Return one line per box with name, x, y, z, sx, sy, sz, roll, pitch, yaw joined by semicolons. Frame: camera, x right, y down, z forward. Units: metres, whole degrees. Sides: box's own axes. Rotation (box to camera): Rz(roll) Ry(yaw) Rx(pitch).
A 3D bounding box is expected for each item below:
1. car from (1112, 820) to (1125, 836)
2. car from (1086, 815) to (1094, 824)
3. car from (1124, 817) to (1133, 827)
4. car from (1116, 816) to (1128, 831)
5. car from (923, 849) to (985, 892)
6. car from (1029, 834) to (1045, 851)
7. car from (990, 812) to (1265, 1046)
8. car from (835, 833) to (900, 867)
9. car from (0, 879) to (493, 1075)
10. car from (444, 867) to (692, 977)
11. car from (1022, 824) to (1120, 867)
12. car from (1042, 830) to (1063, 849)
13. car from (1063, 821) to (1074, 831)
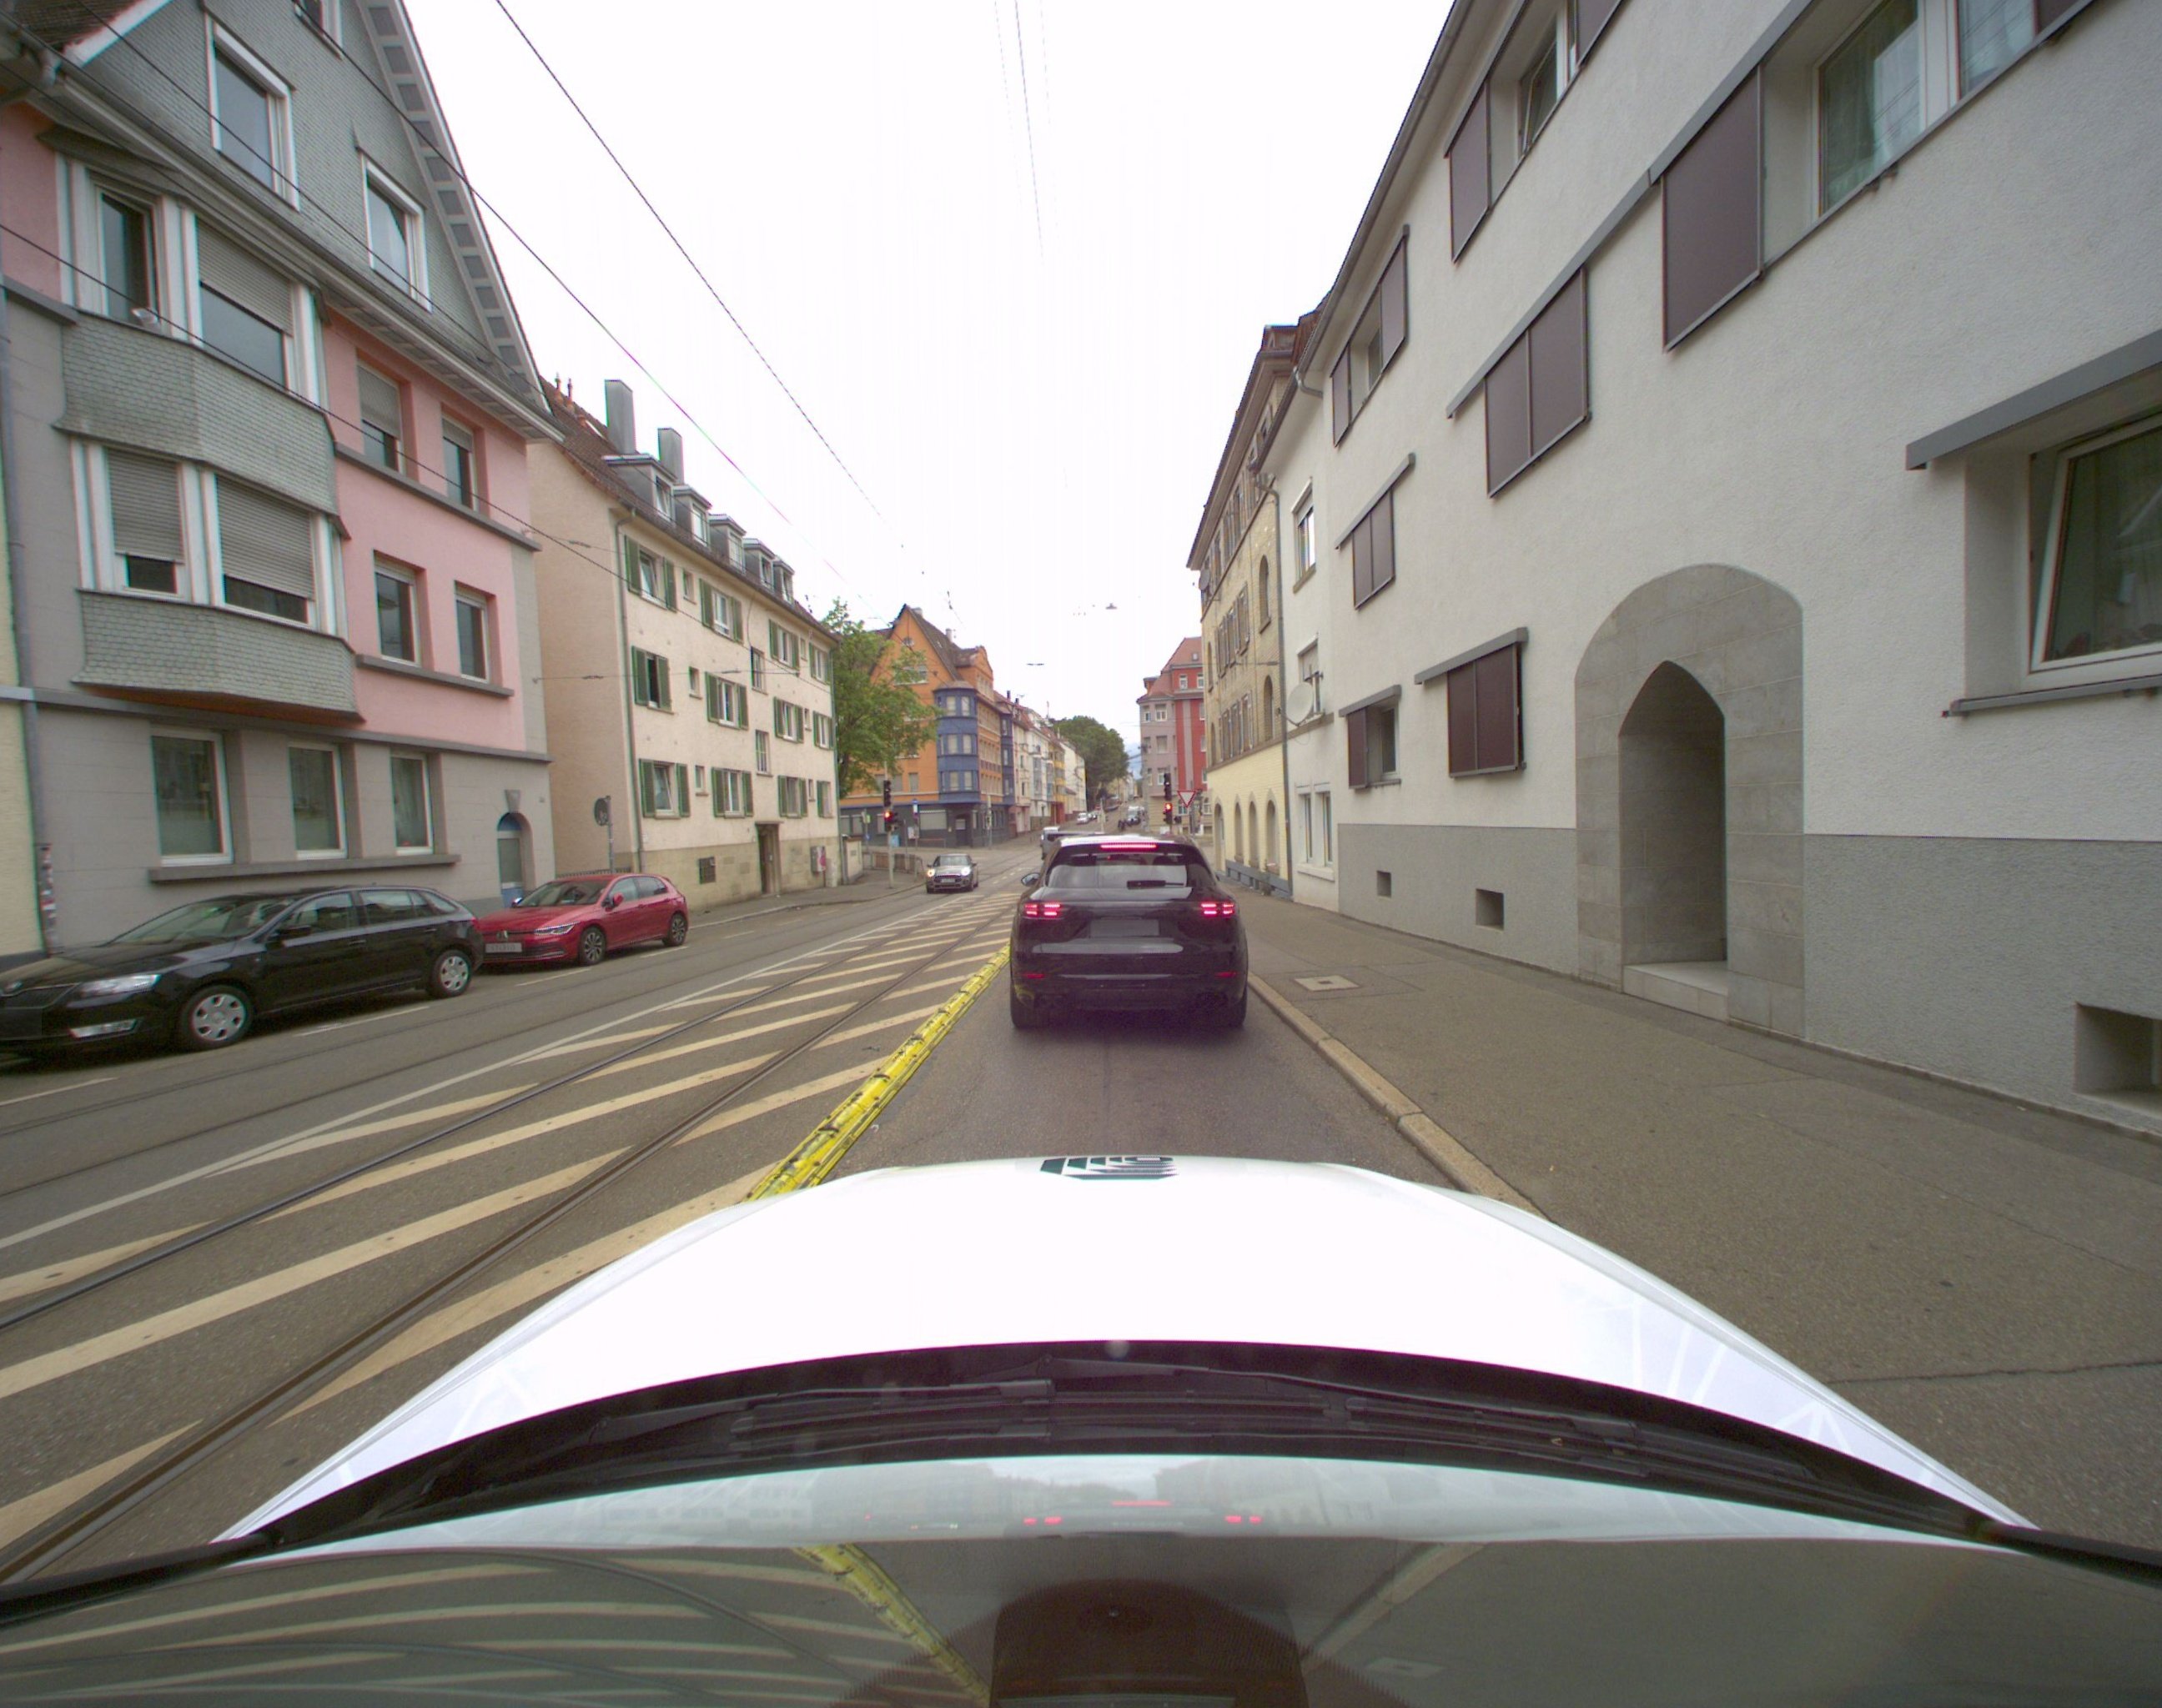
car;4.335;-2.957;94.048;1.389;1.722;3.361;-2;0;2
car;1.639;-6.465;152.083;1.389;1.450;3.361;-2;0;2
car;7.347;-4.937;125.830;1.389;1.450;3.361;-2;0;2
car;5.022;-3.717;100.842;1.389;1.722;3.361;-2;0;2
car;-4.814;0.591;31.249;1.627;1.508;3.542;-2;0;2
car;-4.740;-1.204;87.698;1.389;1.722;3.361;-2;0;2
car;0.393;0.553;8.089;1.986;1.676;4.001;-2;0;1
car;-14.222;-0.249;54.252;4.185;2.118;2.013;-1;0;38
car;-8.624;1.078;8.631;1.729;1.410;4.002;-2;0;2
car;-8.508;1.030;14.000;1.615;1.490;4.047;-3;0;0
car;-0.610;-0.454;46.585;5.238;2.240;2.012;-2;-2;29
car;-2.765;-1.426;79.990;1.744;1.759;4.256;-2;0;2
car;-1.928;-4.253;124.844;1.389;1.450;3.361;-2;0;2
